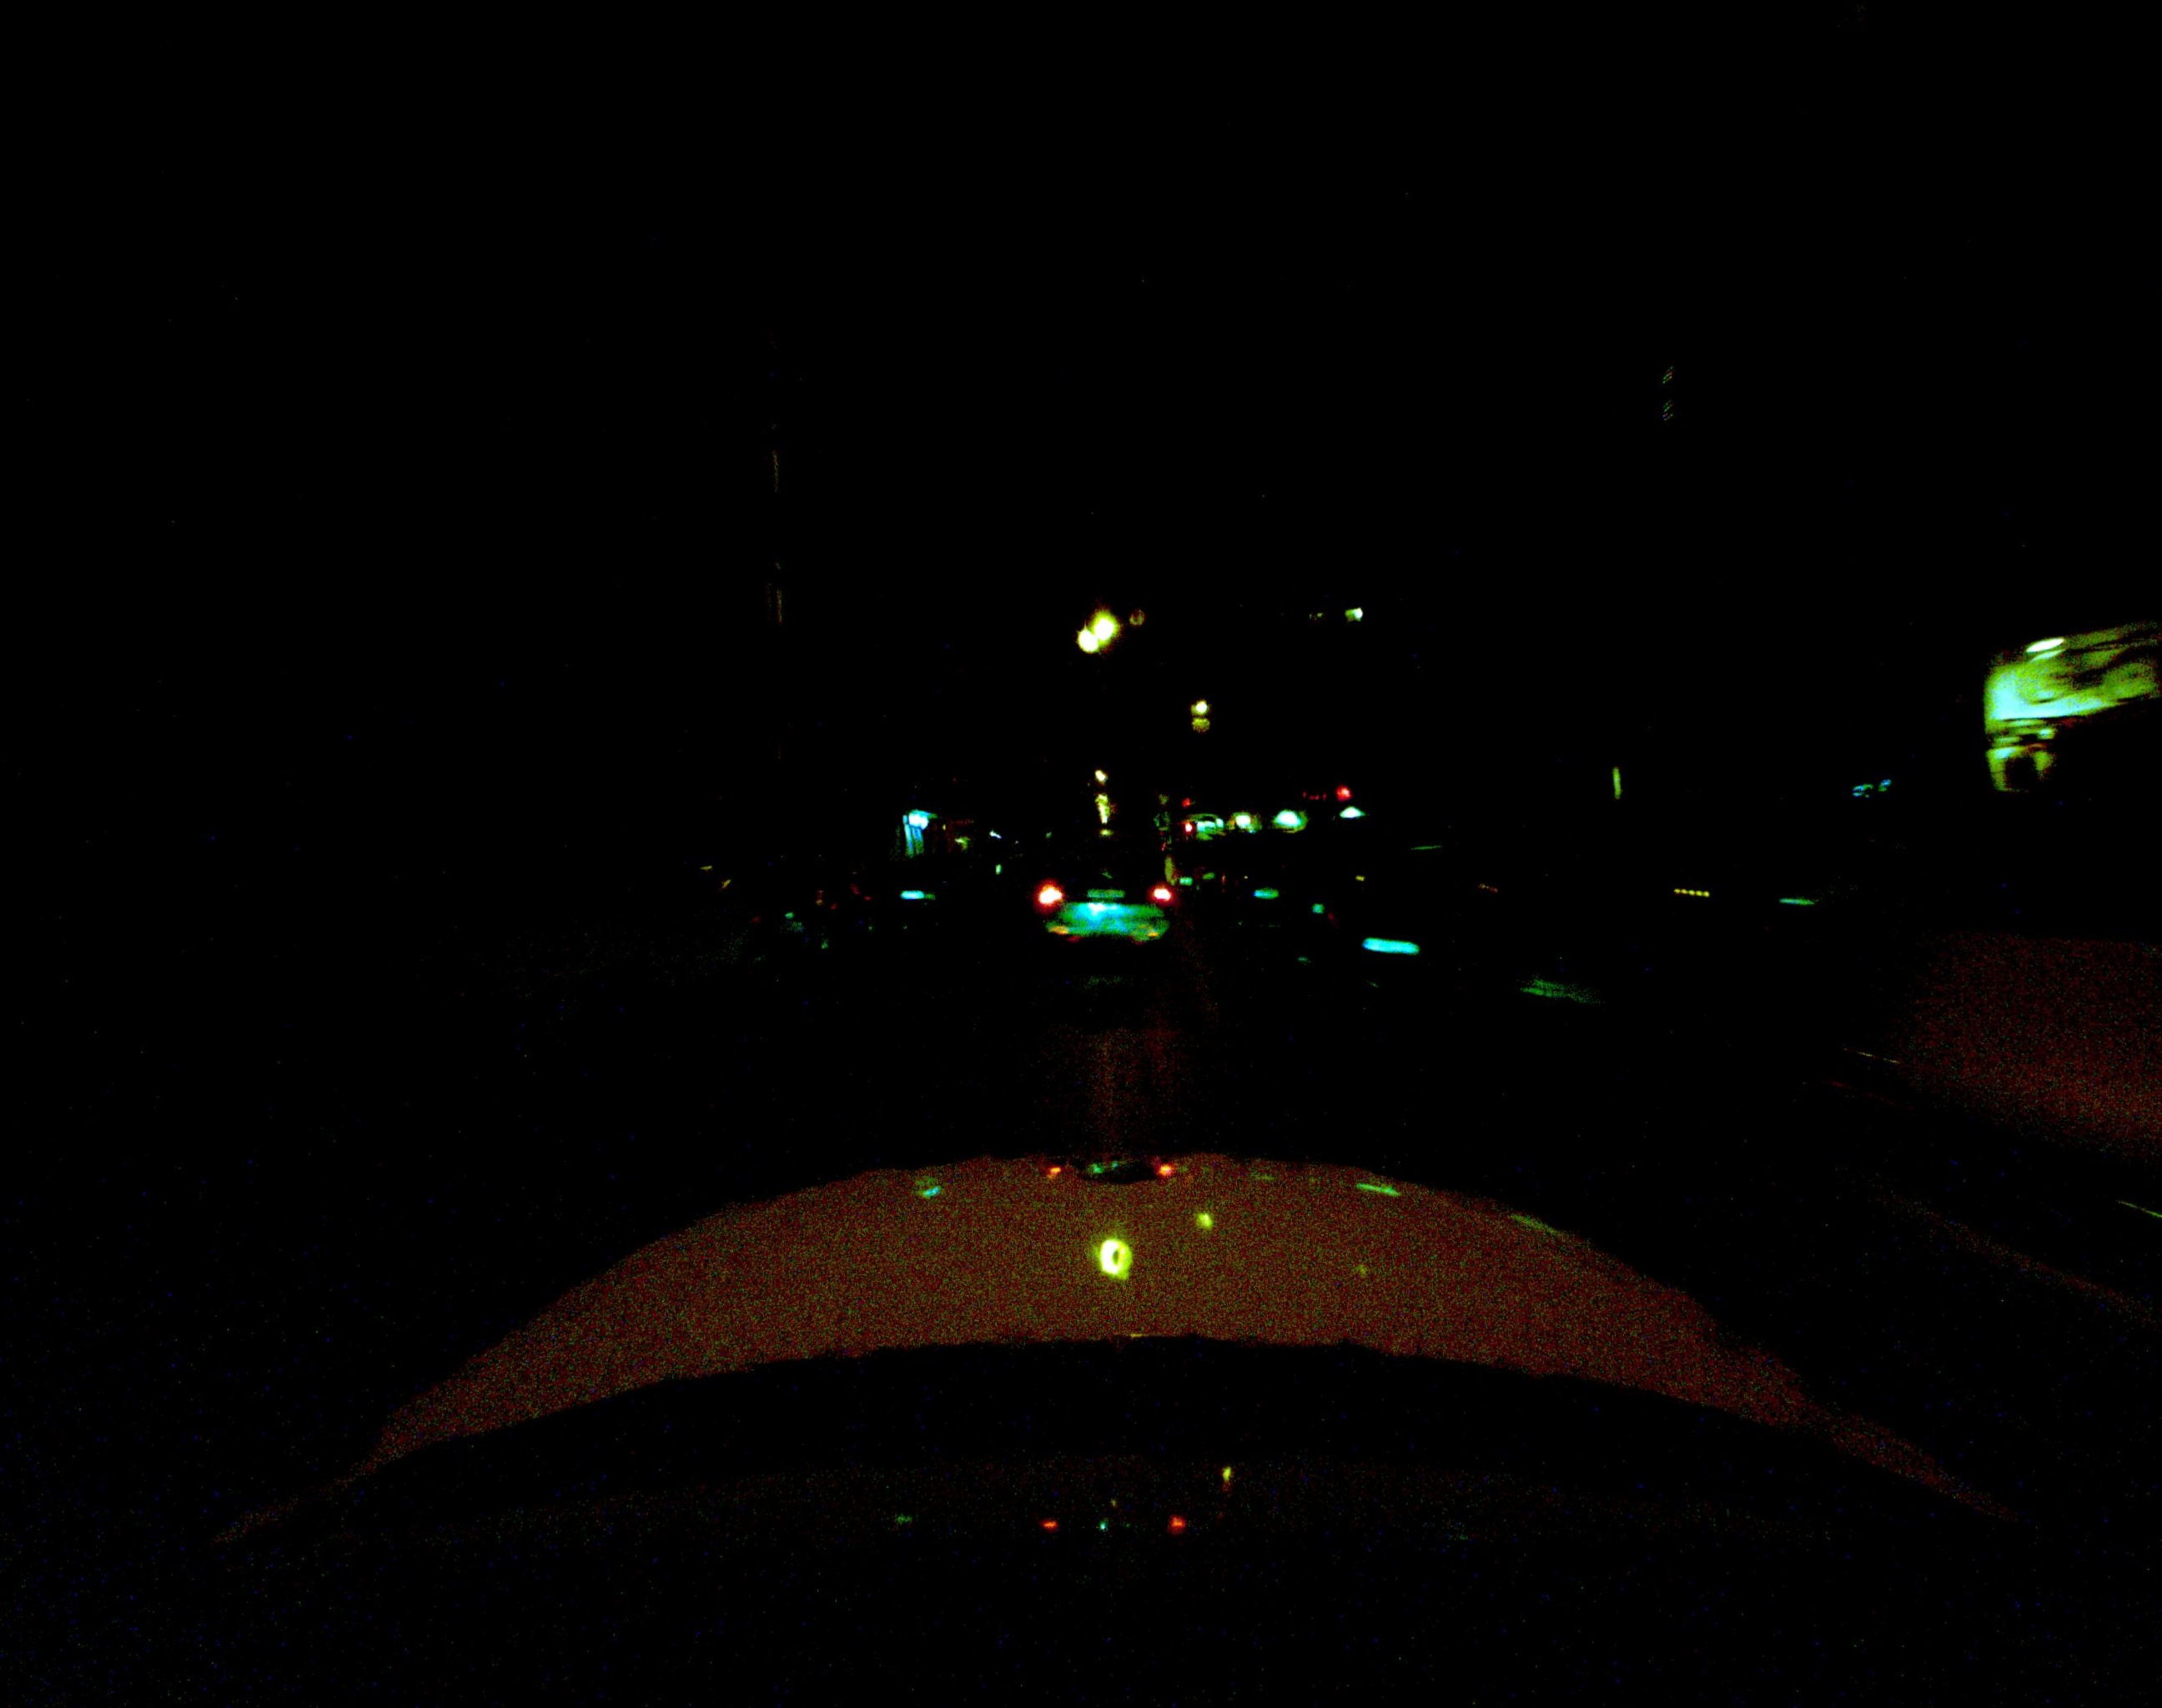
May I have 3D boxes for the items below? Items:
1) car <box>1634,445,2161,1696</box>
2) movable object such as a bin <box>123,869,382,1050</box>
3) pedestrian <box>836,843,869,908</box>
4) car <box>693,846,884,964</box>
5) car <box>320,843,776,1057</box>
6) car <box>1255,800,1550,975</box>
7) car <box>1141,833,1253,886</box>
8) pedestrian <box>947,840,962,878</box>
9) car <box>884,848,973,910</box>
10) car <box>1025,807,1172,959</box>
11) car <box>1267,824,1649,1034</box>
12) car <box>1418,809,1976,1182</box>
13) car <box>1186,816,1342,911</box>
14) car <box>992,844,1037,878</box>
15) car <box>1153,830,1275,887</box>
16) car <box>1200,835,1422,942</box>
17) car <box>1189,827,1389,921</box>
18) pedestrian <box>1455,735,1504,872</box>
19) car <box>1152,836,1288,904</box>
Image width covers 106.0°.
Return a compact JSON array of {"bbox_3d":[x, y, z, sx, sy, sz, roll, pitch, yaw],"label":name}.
[{"bbox_3d":[3.972,0.296,2.298,4.814,2.048,2.047,-2,1,-29],"label":"car"},{"bbox_3d":[-7.114,0.849,7.077,1.043,1.398,1.159,0,0,4],"label":"movable object such as a bin"},{"bbox_3d":[-6.119,0.574,21.848,0.698,1.704,0.539,-1,0,1],"label":"pedestrian"},{"bbox_3d":[-4.417,0.666,12.987,1.651,1.557,4.074,-1,0,-2],"label":"car"},{"bbox_3d":[-4.441,0.658,7.582,1.581,1.482,3.796,-1,0,3],"label":"car"},{"bbox_3d":[4.263,0.321,10.603,3.766,1.840,1.707,-4,0,-35],"label":"car"},{"bbox_3d":[4.494,0.163,31.271,4.017,1.761,1.860,-4,2,-35],"label":"car"},{"bbox_3d":[-6.332,0.247,40.733,0.659,1.903,0.539,-1,0,-3],"label":"pedestrian"},{"bbox_3d":[-4.164,0.630,22.855,1.808,1.557,4.074,-1,0,-2],"label":"car"},{"bbox_3d":[0.308,0.408,13.199,1.986,2.050,4.001,-1,0,2],"label":"car"},{"bbox_3d":[3.735,0.558,7.915,3.580,1.484,1.708,-4,0,-34],"label":"car"},{"bbox_3d":[3.866,0.571,4.992,3.526,1.494,1.436,-4,0,-30],"label":"car"},{"bbox_3d":[4.437,0.190,19.601,3.581,1.990,1.588,-4,0,-35],"label":"car"},{"bbox_3d":[-3.401,0.328,42.364,1.876,1.685,4.002,-1,0,2],"label":"car"},{"bbox_3d":[4.694,0.121,28.504,4.017,1.761,1.860,-3,2,-35],"label":"car"},{"bbox_3d":[3.969,0.522,13.881,3.580,1.453,1.655,-4,0,-34],"label":"car"},{"bbox_3d":[4.473,0.363,17.316,4.017,1.587,1.861,-4,1,-34],"label":"car"},{"bbox_3d":[10.508,-1.305,21.492,0.888,3.527,0.791,-1,0,1],"label":"pedestrian"},{"bbox_3d":[3.878,0.412,22.541,3.581,1.590,1.588,-4,0,-35],"label":"car"}]
